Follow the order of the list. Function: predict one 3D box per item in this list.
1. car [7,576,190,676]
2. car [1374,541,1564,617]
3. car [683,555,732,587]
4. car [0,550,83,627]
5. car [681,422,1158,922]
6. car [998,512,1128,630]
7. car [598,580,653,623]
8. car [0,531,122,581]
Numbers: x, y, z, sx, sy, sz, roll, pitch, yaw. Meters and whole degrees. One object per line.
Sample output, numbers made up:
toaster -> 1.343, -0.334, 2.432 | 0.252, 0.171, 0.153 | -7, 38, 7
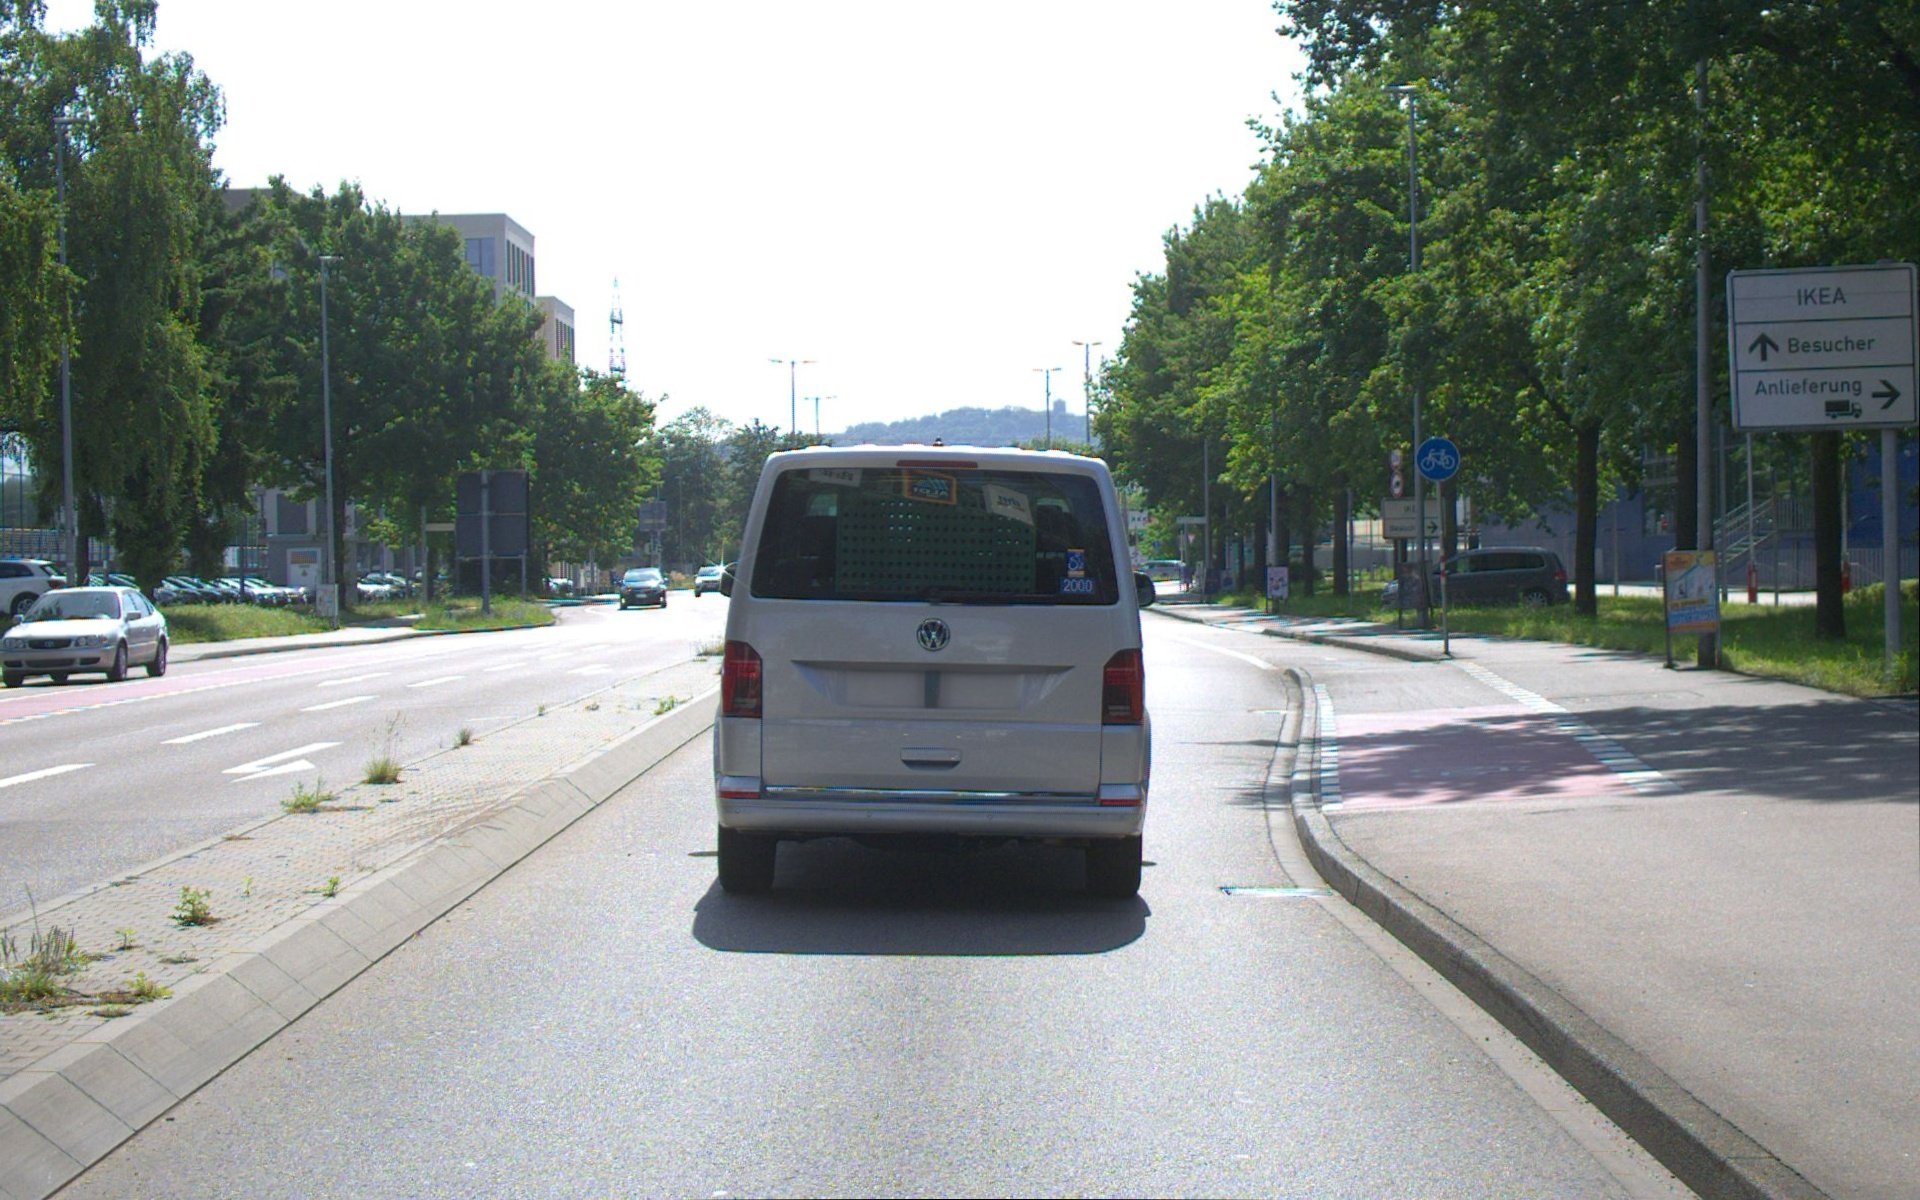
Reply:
car -> -12.778, 0.356, 51.220 | 1.635, 1.383, 4.318 | -2, 1, 0
car -> 12.298, -0.515, 83.264 | 4.445, 1.688, 1.844 | -2, 0, 7
car -> -13.288, -1.525, 181.323 | 1.994, 1.612, 4.103 | -2, 0, 3
car -> -24.495, -0.319, 86.189 | 4.463, 1.869, 2.000 | 1, 0, 1
car -> -0.186, 0.270, 15.819 | 1.884, 1.983, 4.000 | 1, 1, -1
car -> 1.755, -0.510, 60.369 | 1.967, 1.961, 5.126 | 1, 1, -1
car -> -12.599, 0.027, 129.511 | 1.697, 1.514, 4.027 | -2, 1, -1
car -> -24.281, -1.164, 90.959 | 3.791, 1.281, 1.745 | 1, 0, -2
